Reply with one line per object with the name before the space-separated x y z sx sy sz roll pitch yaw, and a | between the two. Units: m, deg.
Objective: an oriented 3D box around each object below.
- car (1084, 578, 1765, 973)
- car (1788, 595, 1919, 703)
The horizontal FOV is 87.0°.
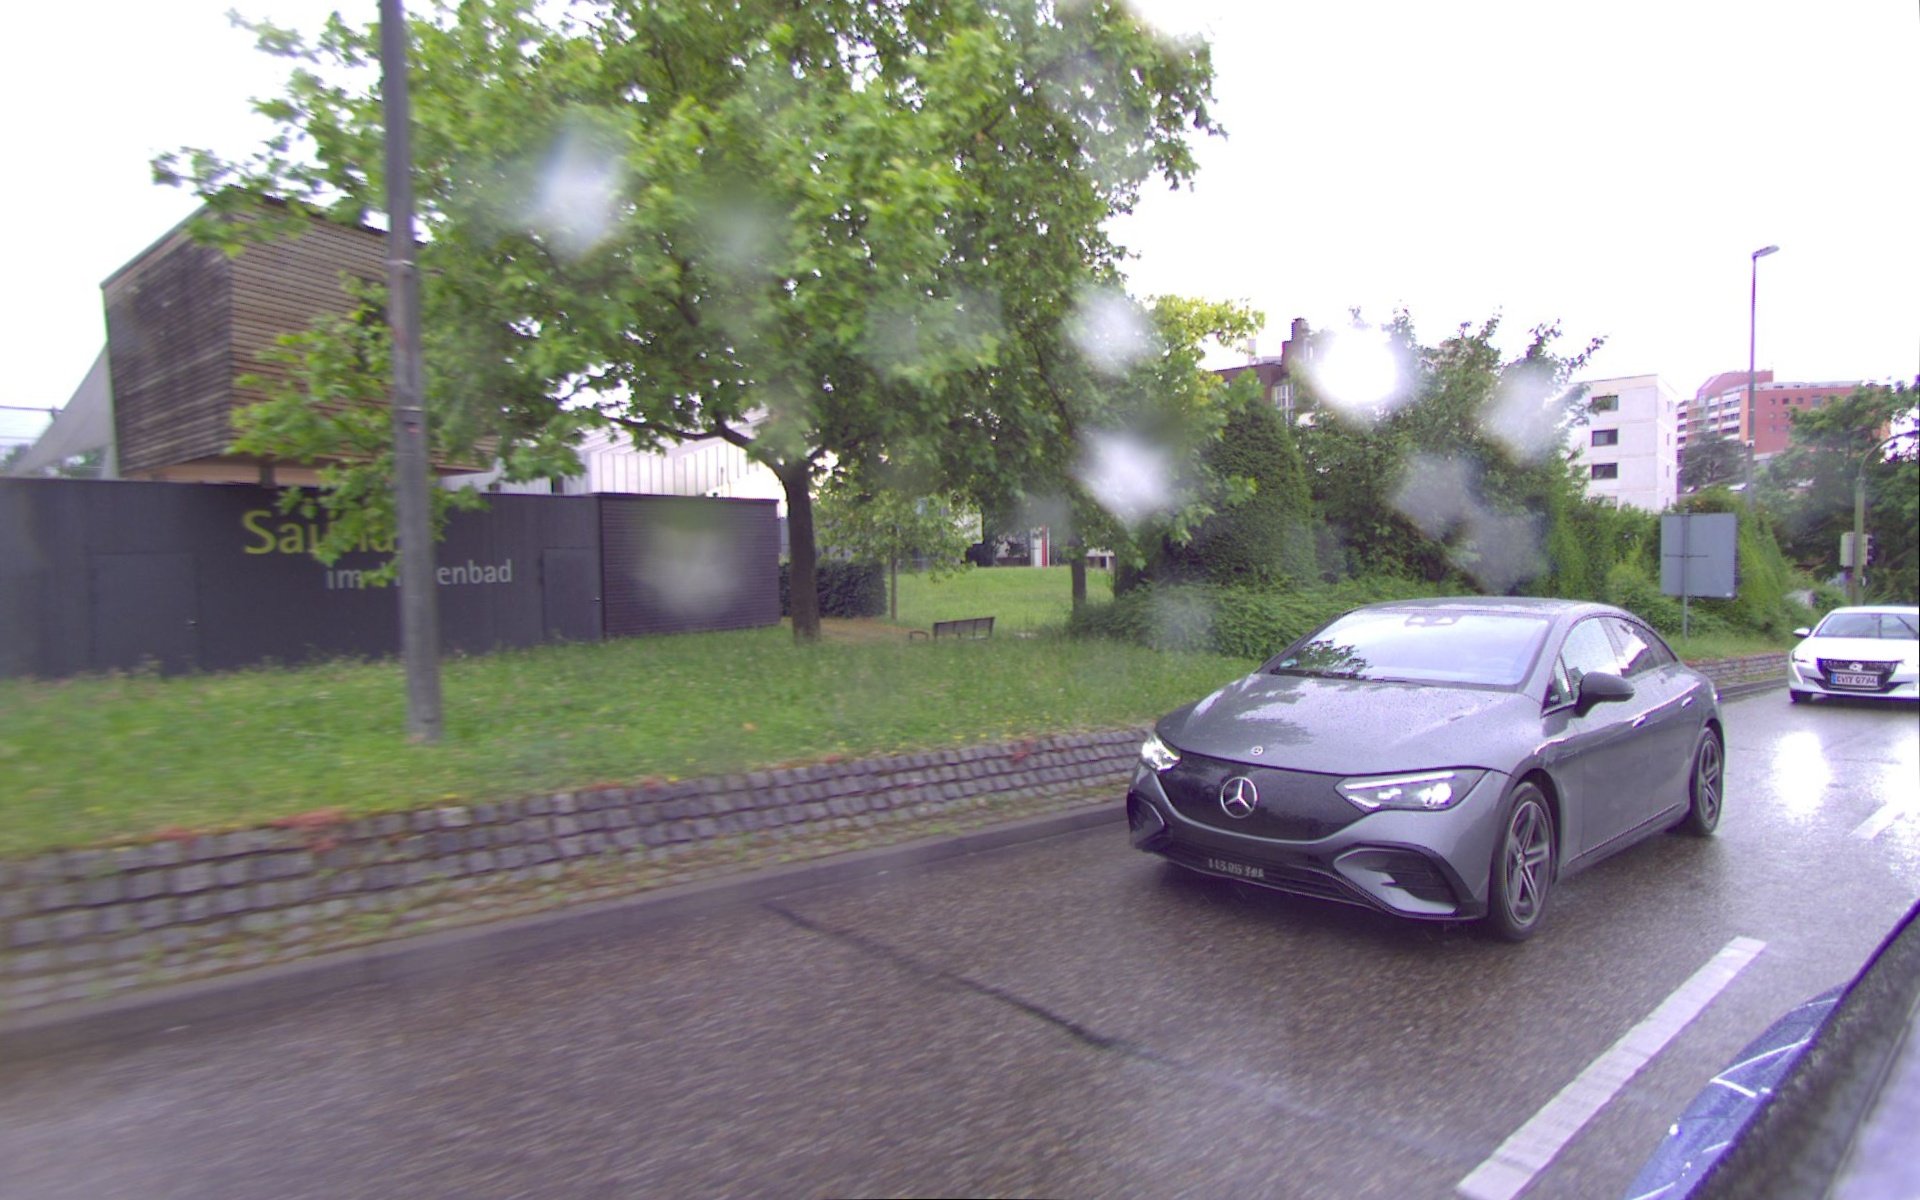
car | 2.946 0.627 5.903 4.469 1.462 1.835 -1 0 -39
car | 14.208 0.658 15.351 3.962 1.415 1.718 -1 0 -38
